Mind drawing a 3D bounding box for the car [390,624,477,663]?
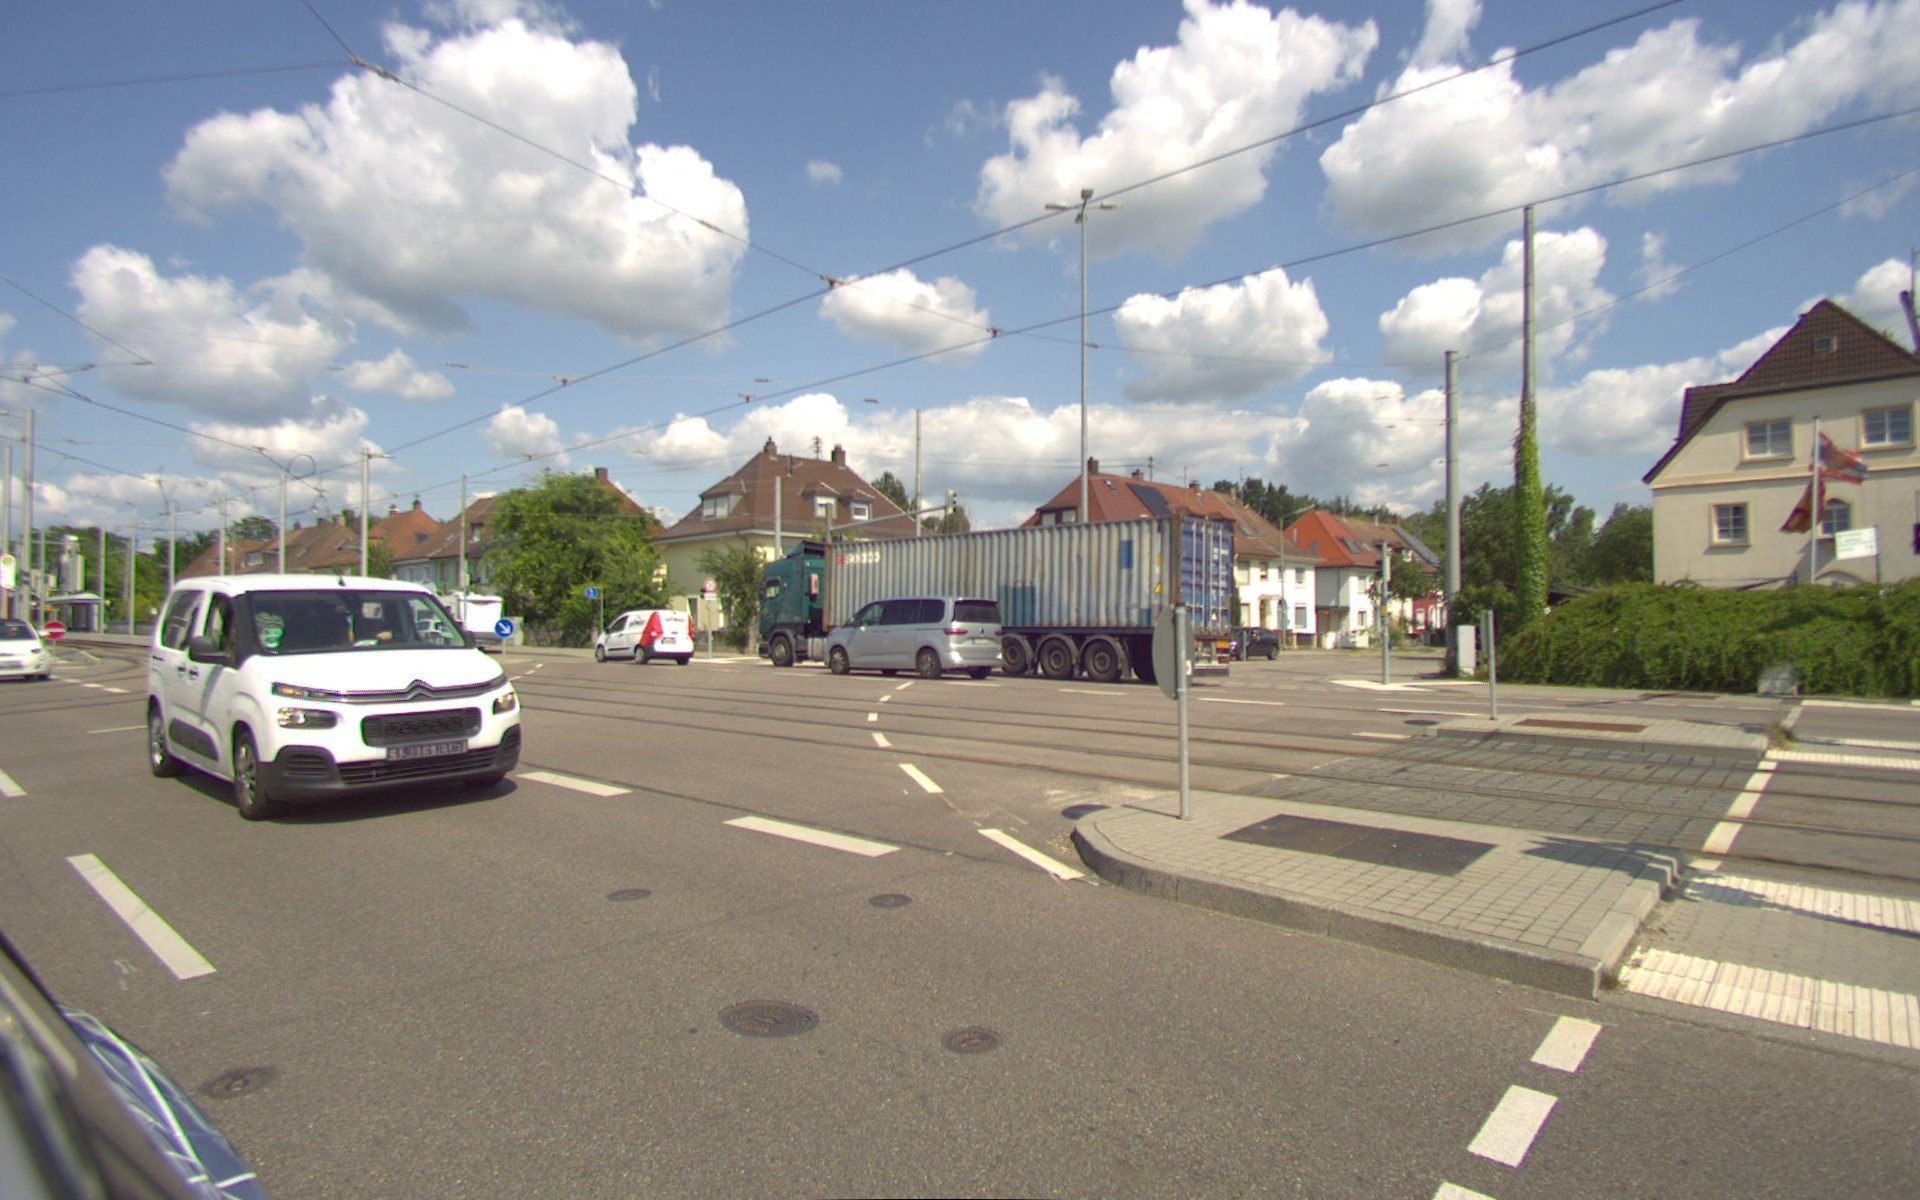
[{"bbox_3d":[-23.088,1.895,44.314,4.177,1.564,1.972,-1,-4,42],"label":"car"}]

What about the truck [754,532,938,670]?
[{"bbox_3d":[-3.586,0.167,31.158,5.668,3.851,2.570,-3,-5,44],"label":"truck"}]

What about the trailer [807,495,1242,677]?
[{"bbox_3d":[0.967,-0.032,26.793,12.838,3.851,2.570,-3,-5,44],"label":"trailer"}]

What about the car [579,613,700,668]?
[{"bbox_3d":[-10.403,1.269,32.675,4.472,1.649,1.774,-1,-2,44],"label":"car"}]

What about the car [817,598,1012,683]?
[{"bbox_3d":[-1.156,0.916,23.989,4.710,1.829,1.776,-1,-2,41],"label":"car"}]

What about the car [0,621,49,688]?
[{"bbox_3d":[-23.416,1.301,24.369,3.389,1.515,1.660,-1,0,38],"label":"car"}]

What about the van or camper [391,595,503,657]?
[{"bbox_3d":[-26.370,1.254,51.836,7.750,2.952,2.300,1,-1,41],"label":"van or camper"}]

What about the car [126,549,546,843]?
[{"bbox_3d":[-5.339,0.603,8.405,4.327,1.829,1.776,-1,0,41],"label":"car"}]

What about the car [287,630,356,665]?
[{"bbox_3d":[-34.042,2.516,53.888,4.879,1.790,1.971,-2,-4,44],"label":"car"}]
